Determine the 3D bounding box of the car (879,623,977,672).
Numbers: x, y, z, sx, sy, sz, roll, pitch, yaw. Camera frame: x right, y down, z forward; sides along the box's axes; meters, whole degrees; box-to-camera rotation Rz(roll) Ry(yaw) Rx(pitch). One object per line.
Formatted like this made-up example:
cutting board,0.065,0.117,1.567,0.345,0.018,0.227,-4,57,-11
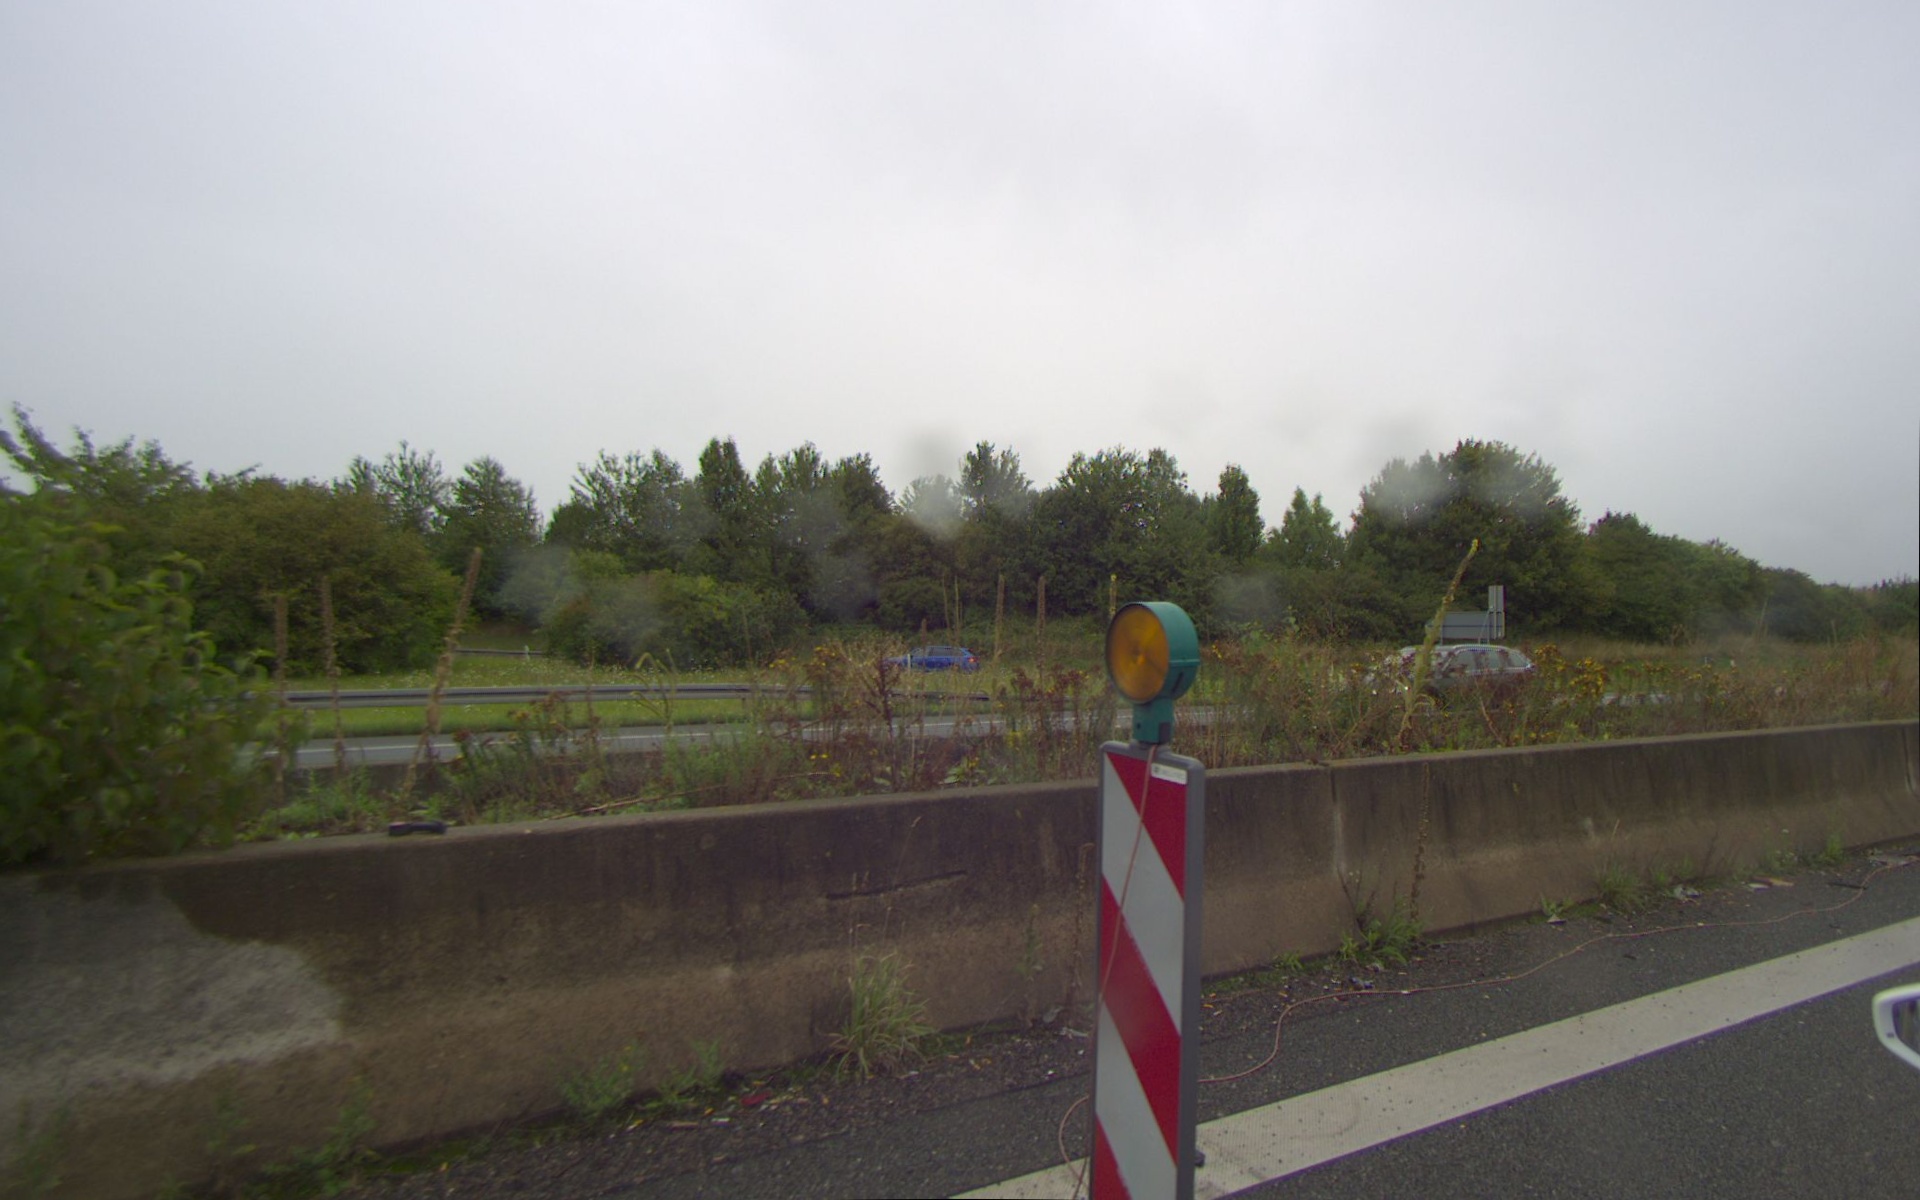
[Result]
car,-1.394,2.089,44.457,4.198,2.138,1.697,0,-2,3

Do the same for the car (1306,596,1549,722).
car,8.440,1.019,18.108,3.951,2.040,1.985,2,0,-29
